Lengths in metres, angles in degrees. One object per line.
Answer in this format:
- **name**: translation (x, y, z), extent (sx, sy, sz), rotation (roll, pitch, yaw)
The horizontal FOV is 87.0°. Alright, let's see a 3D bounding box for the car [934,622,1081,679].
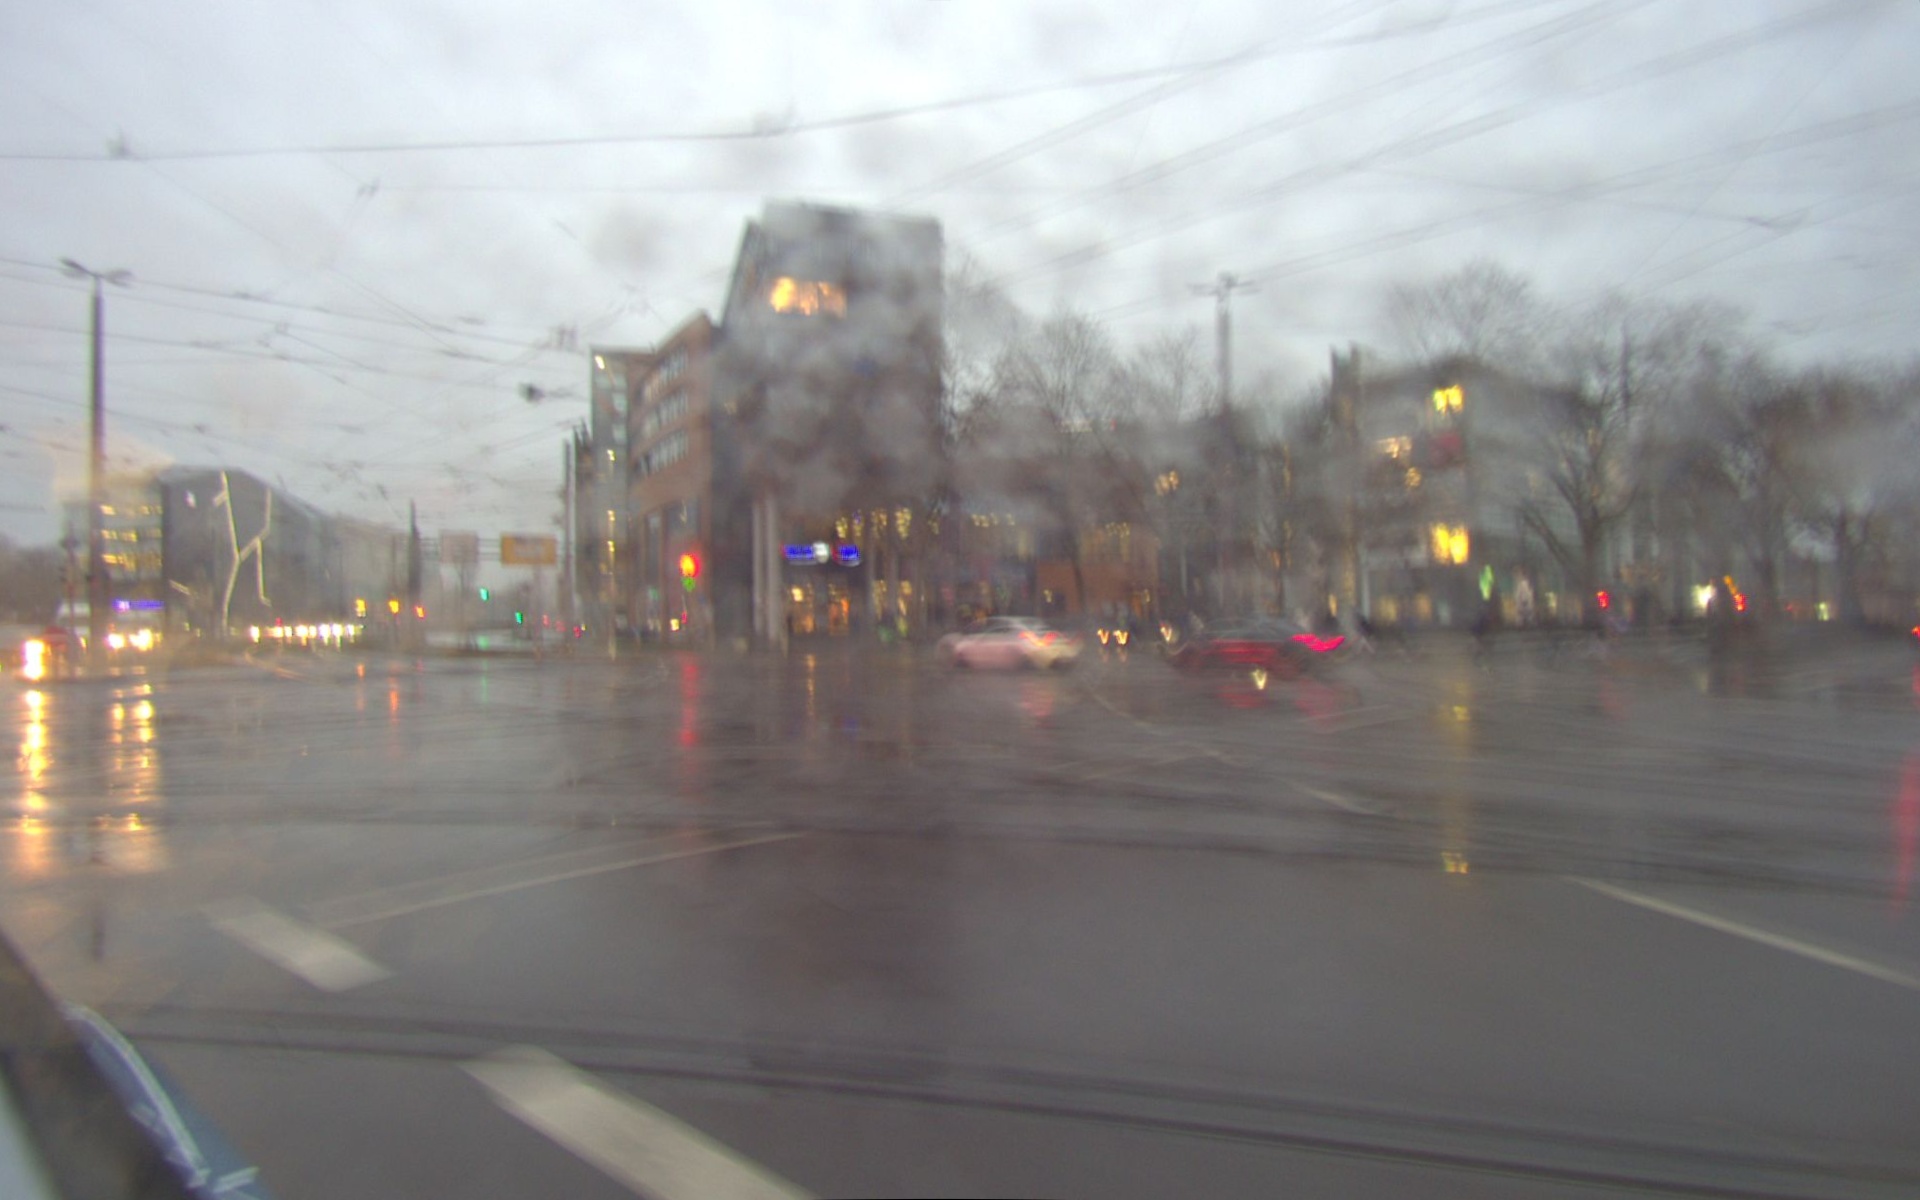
- **car**: translation (1.307, 1.407, 29.146), extent (1.649, 1.506, 4.203), rotation (1, -2, -45)

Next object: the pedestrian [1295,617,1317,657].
- **pedestrian**: translation (13.582, 1.431, 39.733), extent (0.511, 1.549, 0.577), rotation (0, -2, -27)

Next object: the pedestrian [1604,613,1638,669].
- **pedestrian**: translation (18.410, 1.139, 28.201), extent (0.511, 1.549, 0.577), rotation (0, -2, -27)

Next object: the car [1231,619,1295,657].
- **car**: translation (17.742, 2.177, 59.162), extent (4.016, 2.153, 1.922), rotation (1, -2, -45)

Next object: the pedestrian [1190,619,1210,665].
- **pedestrian**: translation (10.500, 1.836, 44.212), extent (0.520, 1.973, 0.670), rotation (0, -2, -23)

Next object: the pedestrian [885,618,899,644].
- **pedestrian**: translation (-4.623, 2.108, 68.724), extent (0.715, 1.721, 0.696), rotation (0, -2, -27)

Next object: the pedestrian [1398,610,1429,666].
- **pedestrian**: translation (16.445, 1.372, 36.717), extent (0.696, 2.029, 0.761), rotation (1, -2, -36)

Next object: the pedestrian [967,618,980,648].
- **pedestrian**: translation (0.780, 1.858, 57.831), extent (0.593, 1.696, 0.558), rotation (-1, -2, 21)

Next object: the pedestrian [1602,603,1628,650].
- **pedestrian**: translation (28.706, 1.141, 44.344), extent (0.735, 2.029, 0.721), rotation (1, -2, -39)

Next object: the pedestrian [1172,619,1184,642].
- **pedestrian**: translation (16.033, 2.254, 74.516), extent (0.588, 1.696, 0.562), rotation (0, -2, -40)

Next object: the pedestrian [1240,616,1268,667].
- **pedestrian**: translation (11.764, 1.652, 40.487), extent (0.695, 2.029, 0.761), rotation (0, -2, -34)

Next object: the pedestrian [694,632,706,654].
- **pedestrian**: translation (-15.053, 2.486, 58.632), extent (0.439, 1.274, 0.497), rotation (-2, 0, -40)

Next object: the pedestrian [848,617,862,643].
- **pedestrian**: translation (-6.923, 1.977, 66.538), extent (0.729, 1.669, 0.696), rotation (0, -2, -27)

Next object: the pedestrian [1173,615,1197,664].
- **pedestrian**: translation (9.385, 1.641, 42.220), extent (0.756, 2.029, 0.700), rotation (-1, -2, 30)

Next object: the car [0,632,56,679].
- **car**: translation (-33.950, 1.973, 36.410), extent (1.658, 1.585, 3.770), rotation (0, -2, -35)

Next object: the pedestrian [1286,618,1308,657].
- **pedestrian**: translation (13.408, 1.486, 40.288), extent (0.511, 1.549, 0.577), rotation (0, -2, -27)

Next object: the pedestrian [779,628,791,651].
- **pedestrian**: translation (-11.907, 2.674, 68.923), extent (0.641, 1.515, 0.696), rotation (0, -2, -27)

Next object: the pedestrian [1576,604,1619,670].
- **pedestrian**: translation (19.778, 1.138, 31.416), extent (0.786, 2.029, 0.761), rotation (0, -1, -20)

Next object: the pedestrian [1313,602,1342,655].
- **pedestrian**: translation (14.350, 1.113, 39.496), extent (0.695, 2.029, 0.761), rotation (0, -1, -20)

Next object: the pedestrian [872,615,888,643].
- **pedestrian**: translation (-5.405, 1.976, 68.225), extent (0.762, 1.860, 0.925), rotation (0, -2, -25)

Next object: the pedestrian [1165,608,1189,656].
- **pedestrian**: translation (9.369, 1.386, 43.791), extent (0.695, 2.029, 0.761), rotation (0, -1, -20)

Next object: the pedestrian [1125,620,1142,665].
- **pedestrian**: translation (7.939, 1.937, 46.355), extent (0.700, 2.029, 0.774), rotation (-1, -1, 12)

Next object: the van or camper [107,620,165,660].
- **van or camper**: translation (-53.489, 2.559, 65.794), extent (2.150, 2.370, 5.666), rotation (-2, -1, -32)

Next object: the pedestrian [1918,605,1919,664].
- **pedestrian**: translation (31.926, 1.119, 33.058), extent (0.826, 1.914, 0.787), rotation (1, -2, -39)

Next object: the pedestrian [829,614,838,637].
- **pedestrian**: translation (-9.639, 1.922, 77.045), extent (0.682, 1.721, 0.928), rotation (0, -2, -8)

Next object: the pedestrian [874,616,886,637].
- **pedestrian**: translation (-5.644, 1.862, 71.260), extent (0.641, 1.515, 0.696), rotation (0, -2, -27)

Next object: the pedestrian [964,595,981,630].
- **pedestrian**: translation (0.773, 0.758, 60.231), extent (0.756, 2.029, 0.700), rotation (-1, -2, 30)

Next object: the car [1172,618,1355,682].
- **car**: translation (7.860, 1.265, 26.456), extent (4.234, 1.516, 1.733), rotation (-2, -2, 43)

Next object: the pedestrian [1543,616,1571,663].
- **pedestrian**: translation (20.054, 1.336, 33.997), extent (0.511, 1.549, 0.577), rotation (0, -2, -27)

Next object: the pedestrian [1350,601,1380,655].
- **pedestrian**: translation (15.574, 1.065, 38.935), extent (0.695, 2.029, 0.761), rotation (0, -1, -20)

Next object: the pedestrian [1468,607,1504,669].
- **pedestrian**: translation (17.415, 1.246, 33.511), extent (0.695, 2.029, 0.761), rotation (0, -1, -20)

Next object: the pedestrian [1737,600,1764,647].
- **pedestrian**: translation (34.208, 1.019, 43.791), extent (0.735, 2.029, 0.721), rotation (1, -2, -39)

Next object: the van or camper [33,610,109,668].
- **van or camper**: translation (-43.176, 1.853, 49.294), extent (2.028, 2.567, 5.900), rotation (-2, 0, -34)

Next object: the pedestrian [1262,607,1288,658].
- **pedestrian**: translation (12.756, 1.300, 40.953), extent (0.747, 2.029, 0.708), rotation (1, -2, -42)

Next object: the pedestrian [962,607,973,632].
- **pedestrian**: translation (0.524, 1.392, 72.067), extent (0.643, 1.764, 0.447), rotation (0, -2, -36)
